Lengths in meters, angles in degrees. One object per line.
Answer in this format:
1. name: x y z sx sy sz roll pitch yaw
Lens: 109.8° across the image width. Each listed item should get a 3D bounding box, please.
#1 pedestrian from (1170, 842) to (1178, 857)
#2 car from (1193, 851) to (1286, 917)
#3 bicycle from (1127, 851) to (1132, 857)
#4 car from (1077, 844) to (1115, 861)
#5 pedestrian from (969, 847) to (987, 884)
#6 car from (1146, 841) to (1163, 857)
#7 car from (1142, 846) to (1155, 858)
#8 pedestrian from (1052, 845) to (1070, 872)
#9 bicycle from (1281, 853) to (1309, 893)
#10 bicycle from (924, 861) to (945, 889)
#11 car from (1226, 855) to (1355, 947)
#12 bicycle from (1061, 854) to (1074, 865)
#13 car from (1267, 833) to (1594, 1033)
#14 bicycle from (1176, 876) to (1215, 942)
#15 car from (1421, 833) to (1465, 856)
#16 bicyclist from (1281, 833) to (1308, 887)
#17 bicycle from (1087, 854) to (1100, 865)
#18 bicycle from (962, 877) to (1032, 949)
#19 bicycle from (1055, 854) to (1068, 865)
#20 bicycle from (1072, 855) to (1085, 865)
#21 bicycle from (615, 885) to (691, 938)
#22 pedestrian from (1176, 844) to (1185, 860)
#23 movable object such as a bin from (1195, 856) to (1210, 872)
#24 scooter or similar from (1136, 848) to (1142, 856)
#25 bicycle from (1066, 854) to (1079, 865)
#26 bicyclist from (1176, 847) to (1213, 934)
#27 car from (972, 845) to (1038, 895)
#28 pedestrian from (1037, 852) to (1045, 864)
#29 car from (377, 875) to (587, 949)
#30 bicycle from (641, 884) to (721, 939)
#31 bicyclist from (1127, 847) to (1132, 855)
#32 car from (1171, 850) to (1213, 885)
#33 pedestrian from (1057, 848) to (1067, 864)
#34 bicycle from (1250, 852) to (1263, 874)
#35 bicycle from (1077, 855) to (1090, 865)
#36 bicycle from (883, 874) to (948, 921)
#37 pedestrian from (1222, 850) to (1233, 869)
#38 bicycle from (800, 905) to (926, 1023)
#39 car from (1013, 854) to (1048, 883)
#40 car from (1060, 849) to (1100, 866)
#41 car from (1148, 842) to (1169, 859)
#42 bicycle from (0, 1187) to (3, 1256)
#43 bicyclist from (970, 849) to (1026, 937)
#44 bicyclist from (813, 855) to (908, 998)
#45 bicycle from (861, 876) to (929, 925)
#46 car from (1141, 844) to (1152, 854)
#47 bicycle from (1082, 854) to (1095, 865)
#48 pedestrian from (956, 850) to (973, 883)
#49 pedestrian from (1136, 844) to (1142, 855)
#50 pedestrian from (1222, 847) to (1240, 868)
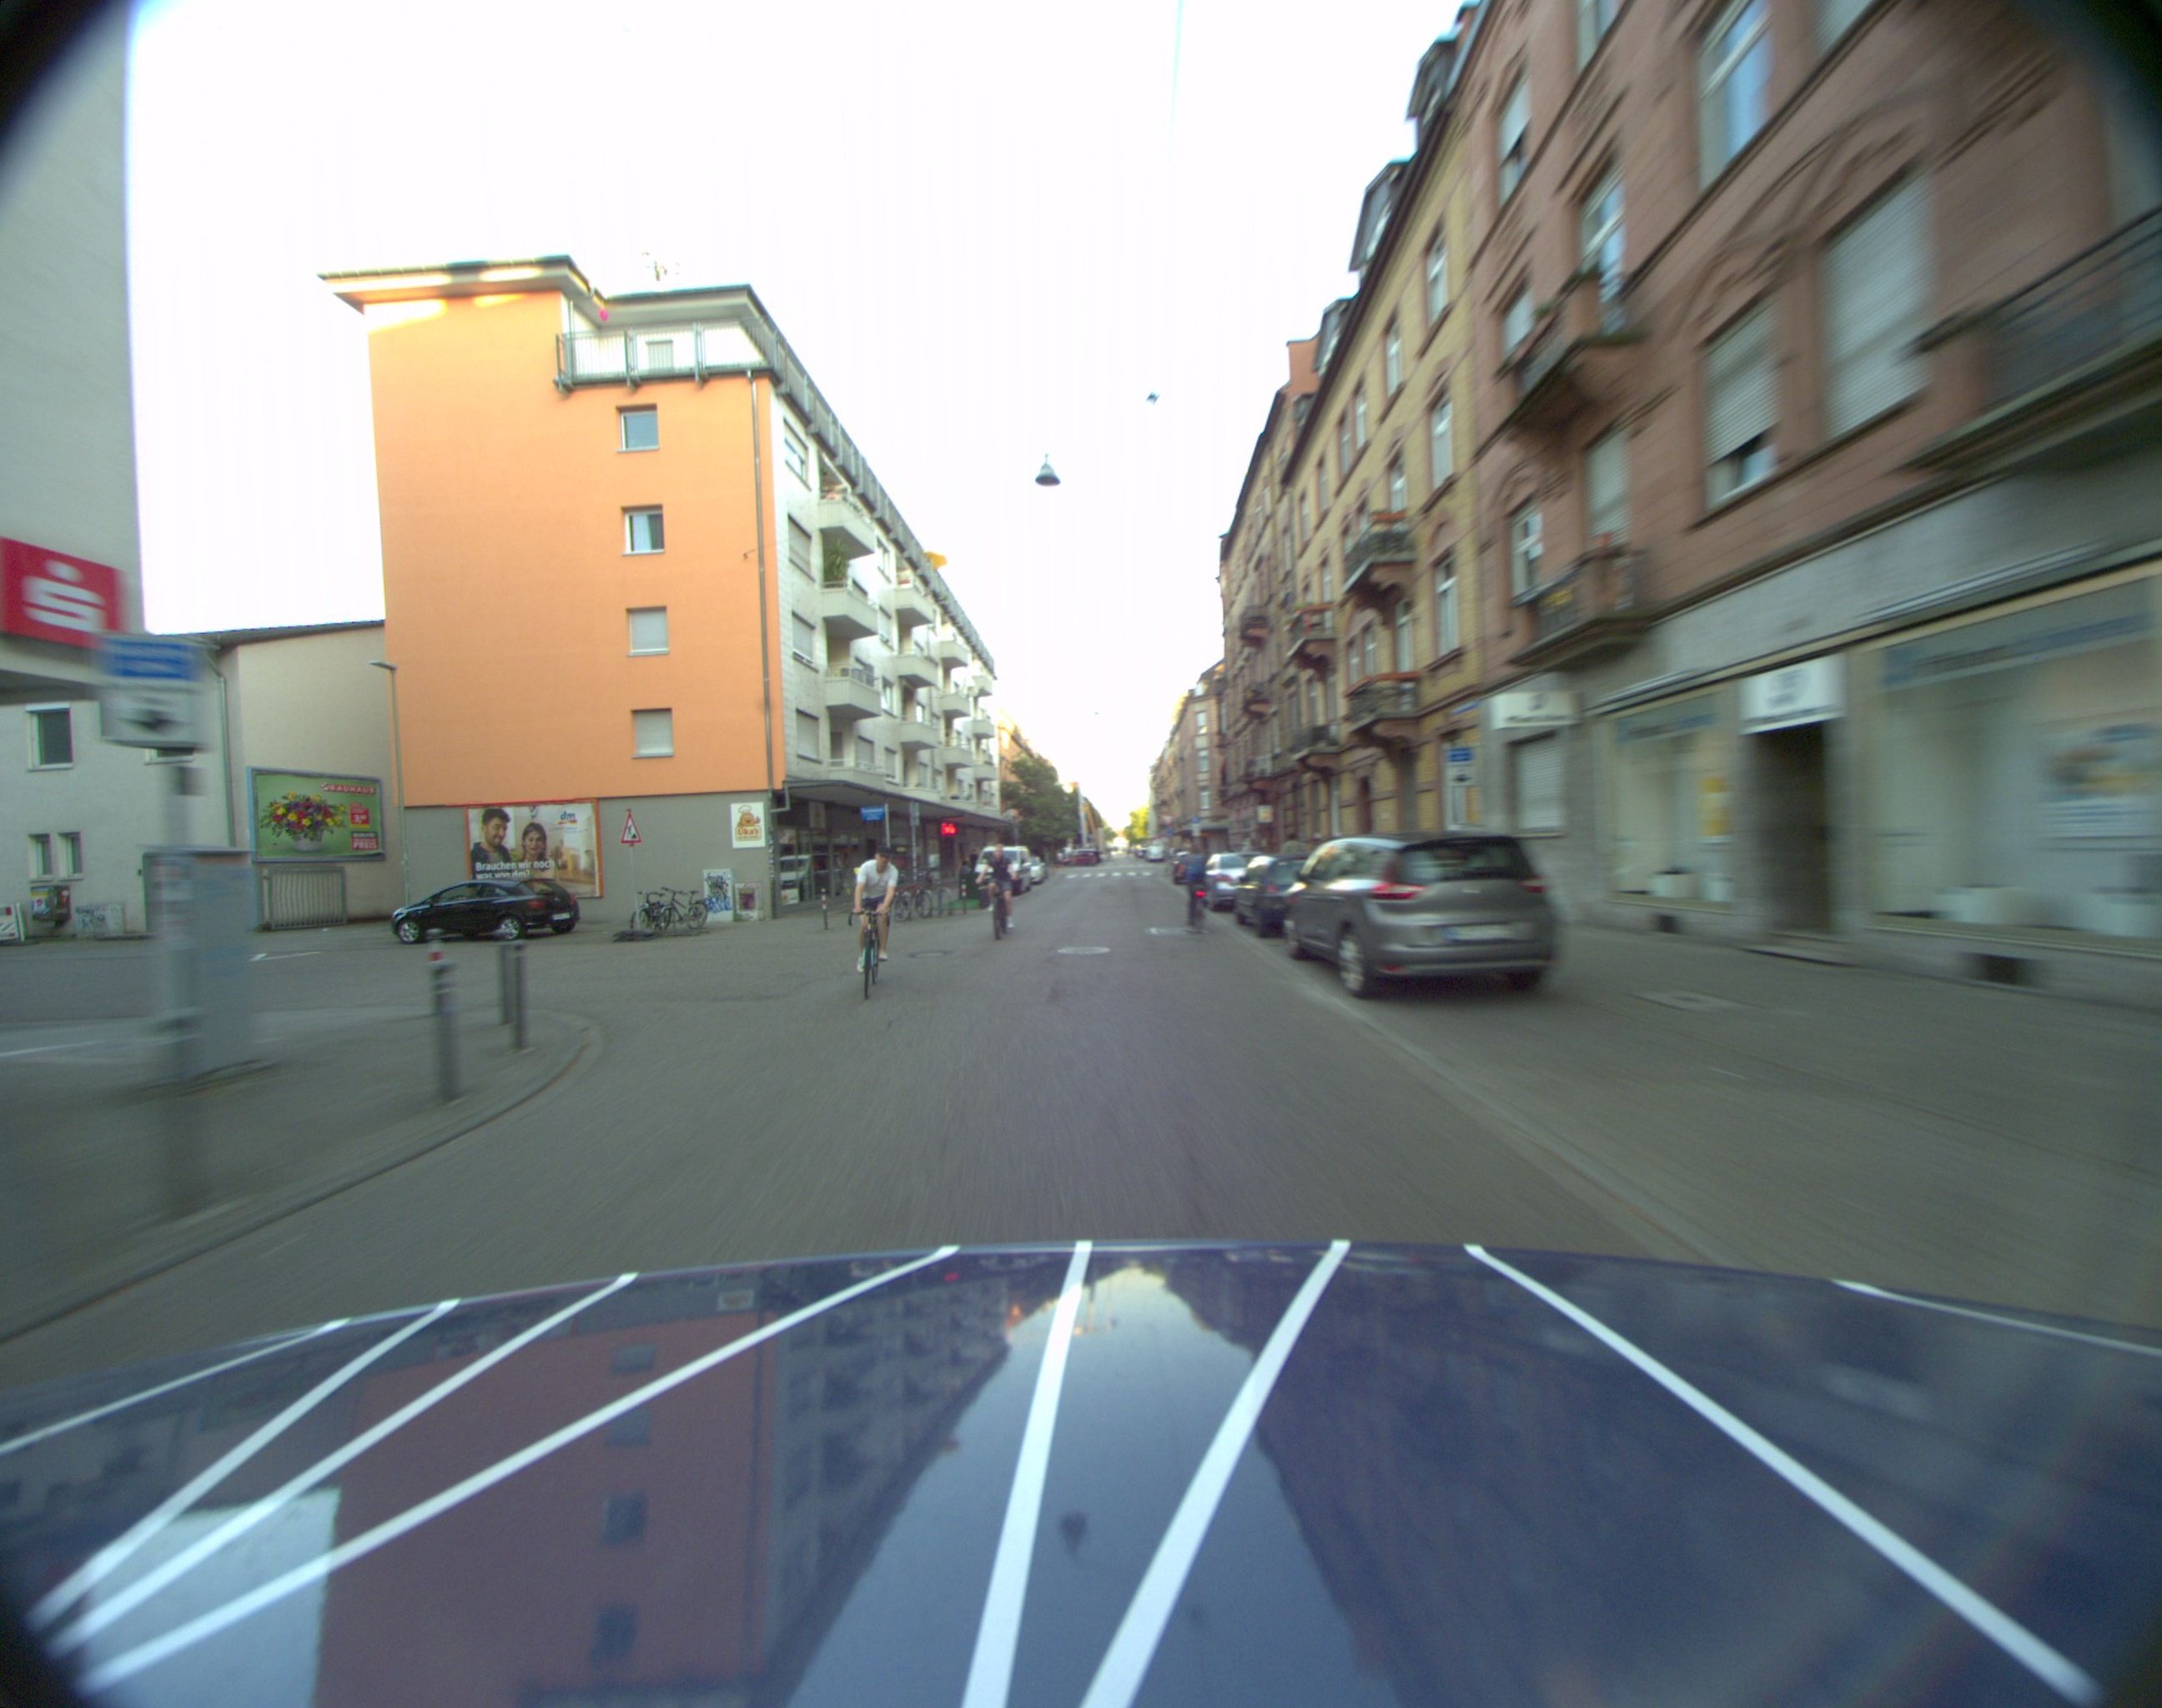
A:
1. pedestrian: 11.774 -0.576 96.152 0.748 1.733 1.213 -3 1 10
2. car: 4.080 0.706 20.244 1.726 1.412 4.582 -4 1 3
3. bicycle: 9.504 0.049 148.413 0.754 1.124 1.976 -3 0 -2
4. car: 2.198 -0.269 114.813 5.151 2.182 2.334 -4 2 -22
5. pedestrian: -5.286 0.585 39.050 0.710 1.818 0.860 -1 2 3
6. car: 9.451 -0.644 97.957 1.878 1.892 4.327 -3 0 4
7. car: 11.683 -0.344 132.325 2.140 1.811 4.541 -3 1 4
8. pedestrian: -1.395 0.336 53.705 1.047 1.800 0.757 -3 -2 14
9. bicycle: 7.066 0.622 25.132 0.709 1.189 1.742 -3 2 11
10. bicycle: -6.701 0.958 34.915 0.913 1.189 1.709 0 1 -10
11. car: 3.758 0.775 14.227 1.588 1.412 3.697 -3 0 4
12. bicycle: -1.457 0.609 82.379 0.666 1.158 2.111 -1 0 -24
13. car: 3.531 0.677 8.733 1.857 1.624 4.446 -3 0 4
14. bicycle: 2.157 1.004 14.457 0.646 1.074 2.169 -1 0 7
15. car: 30.716 -0.850 64.625 1.998 1.828 4.000 -1 2 3
16. bicyclist: 7.044 0.176 25.082 0.709 1.720 0.843 -3 2 11
17. bicycle: 1.366 0.603 83.544 0.666 1.162 2.111 -1 0 -24
18. bicycle: -1.530 1.051 14.295 0.793 1.133 2.344 -3 0 5
19. bicycle: -2.137 0.604 82.107 0.666 1.158 2.111 -1 0 -24
20. bicycle: -0.300 0.625 82.956 0.666 1.125 2.111 -1 0 -24
21. bicycle: -10.057 1.331 17.929 0.563 1.061 1.757 -1 2 8
22. pedestrian: 10.987 -0.189 83.930 0.654 1.768 0.693 -3 0 22
23. movable object such as a bin: 7.275 0.580 45.633 0.763 0.910 0.729 -3 2 0
24. scooter or similar: 8.434 -0.307 110.133 0.809 1.098 1.172 -2 0 0
25. bicycle: -0.916 0.616 82.634 0.666 1.125 2.111 -1 0 -24
26. bicyclist: 2.158 0.675 14.497 0.646 1.611 0.918 -1 1 7
27. car: -3.143 0.632 32.543 1.963 1.962 5.003 0 0 4
28. pedestrian: -4.388 0.477 83.382 0.721 1.297 0.750 -2 1 -16
29. car: -14.173 1.361 18.099 3.675 1.467 1.706 -2 2 5
30. bicycle: -9.392 1.321 17.916 0.563 1.061 1.964 -1 2 9
31. bicyclist: 9.470 -0.583 148.411 0.754 1.630 1.201 -3 0 -2
32. car: 5.000 0.560 34.593 1.697 1.412 3.856 -3 0 6
33. pedestrian: -1.939 0.236 77.996 0.537 1.597 0.870 -2 0 30
34. bicycle: 8.898 0.425 38.566 0.426 1.047 1.899 -3 1 7
35. bicycle: 0.294 0.625 83.266 0.666 1.125 2.111 -1 0 -24
36. bicycle: -4.447 1.138 20.399 1.939 1.128 0.658 1 2 41
37. pedestrian: 8.998 0.323 46.632 0.504 1.137 0.791 -3 2 5
38. bicycle: -2.424 1.191 8.713 0.657 1.012 1.918 -3 2 6
39. car: -2.710 0.777 41.538 1.596 1.492 3.423 -1 1 1
40. car: -0.119 0.358 86.057 4.005 1.658 1.824 -4 2 -28
41. car: 9.337 -0.435 91.954 2.141 1.947 4.769 -3 1 2
42. bicycle: -5.729 1.251 3.135 1.726 1.111 0.707 0 2 7
43. bicyclist: -1.550 0.715 14.297 0.793 1.562 0.826 -3 0 5
44. bicyclist: -2.502 0.795 8.723 0.650 1.500 0.953 -3 2 6
45. bicycle: -4.784 1.170 19.477 1.939 1.128 0.658 1 2 41
46. car: 13.098 -0.962 151.775 1.997 1.729 4.001 -3 2 7
47. bicycle: 0.807 0.608 83.704 0.666 1.162 2.111 -1 0 -24
48. pedestrian: -6.010 0.651 39.253 0.710 1.656 0.744 -1 2 3
49. pedestrian: 8.424 -0.666 110.128 0.809 1.650 0.672 -2 1 0
50. pedestrian: 9.019 0.217 45.617 0.650 1.247 0.907 -6 0 -12
